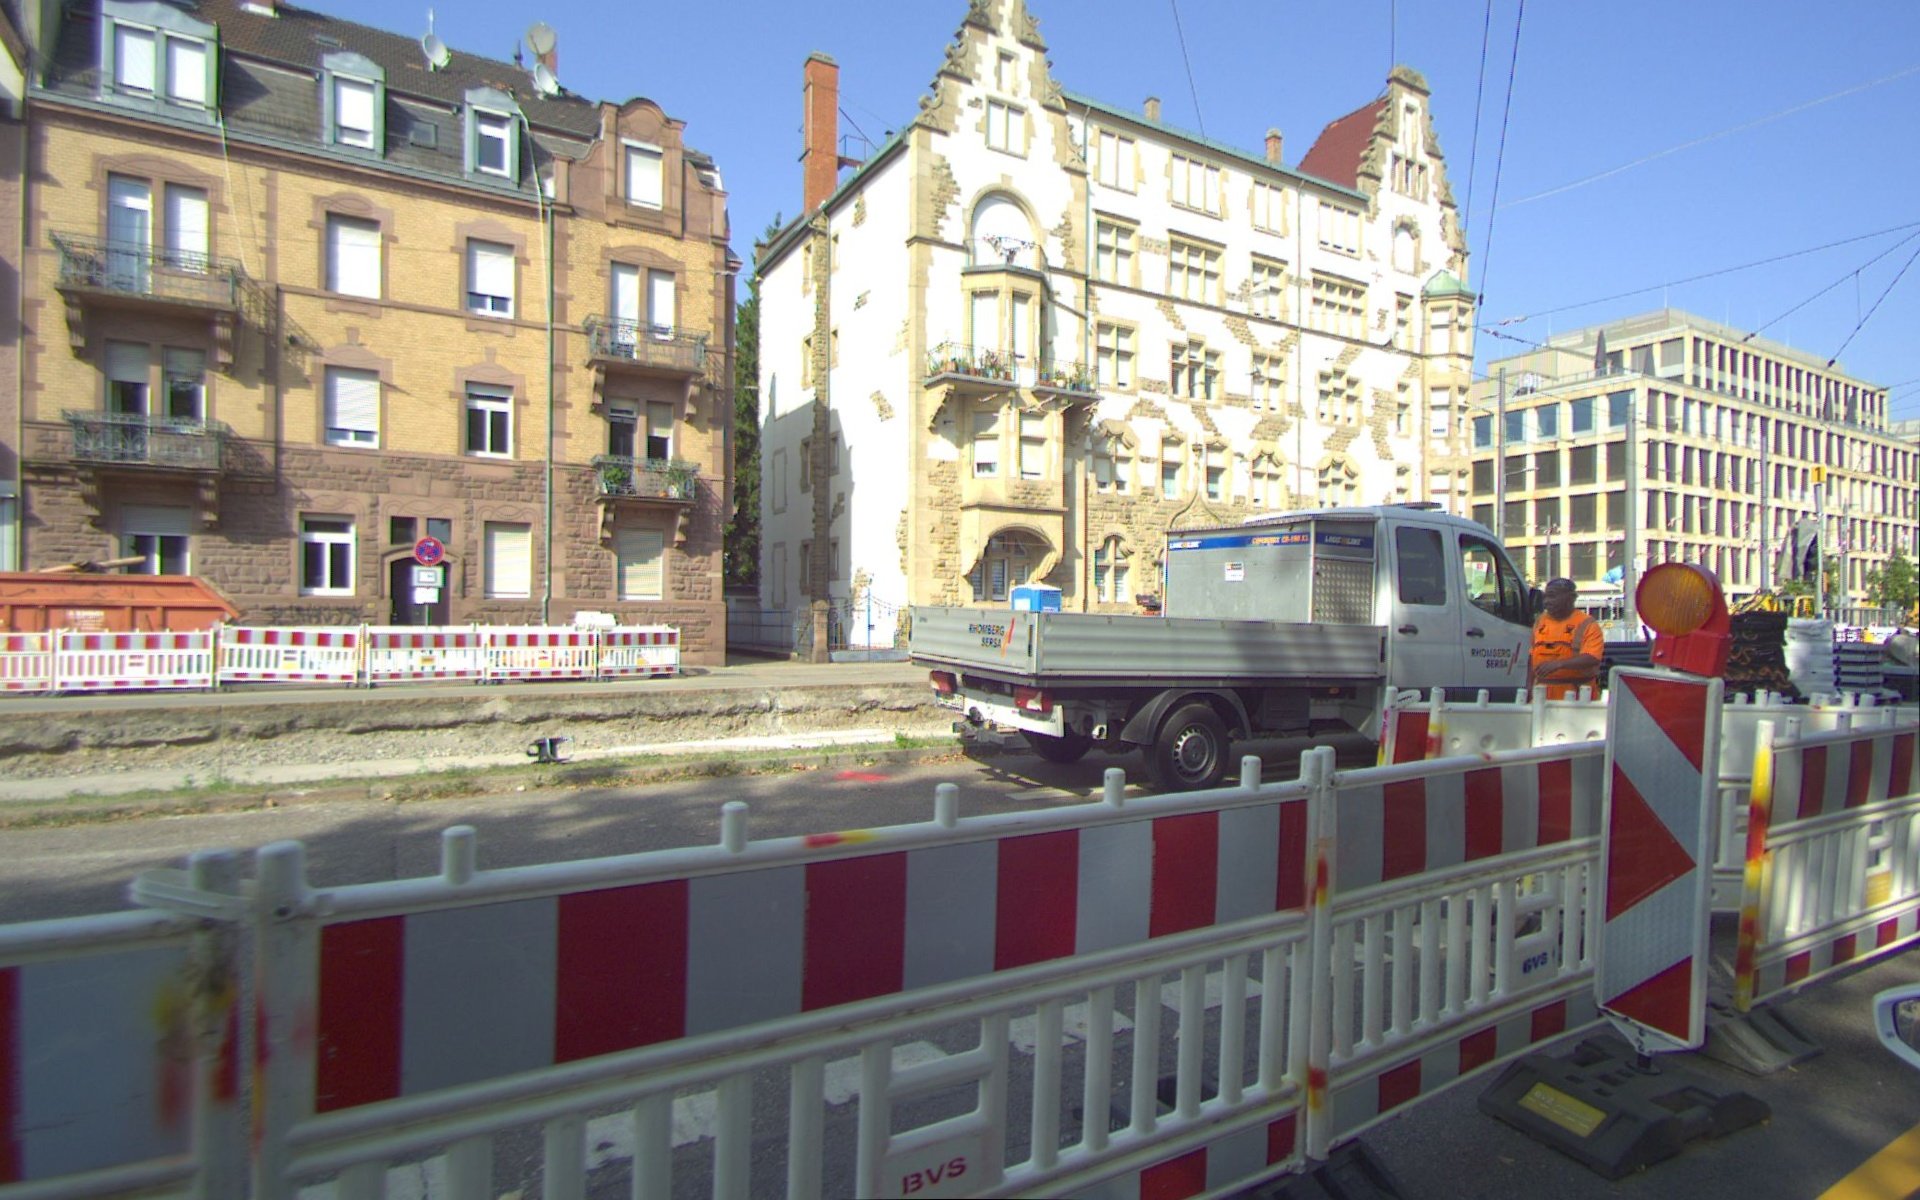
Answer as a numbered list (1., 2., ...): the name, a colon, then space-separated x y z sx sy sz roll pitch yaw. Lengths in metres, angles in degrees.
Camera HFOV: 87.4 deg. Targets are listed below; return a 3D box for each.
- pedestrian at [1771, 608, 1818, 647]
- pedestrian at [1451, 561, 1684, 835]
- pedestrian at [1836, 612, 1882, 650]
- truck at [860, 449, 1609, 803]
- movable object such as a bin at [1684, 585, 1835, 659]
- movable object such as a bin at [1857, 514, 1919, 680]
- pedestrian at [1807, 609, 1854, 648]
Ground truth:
1. pedestrian: 31.605 1.051 38.062 0.906 1.461 1.137 1 -1 -29
2. pedestrian: 4.270 0.638 7.090 1.083 1.733 1.026 1 -1 -32
3. pedestrian: 35.958 1.234 40.181 1.008 1.461 1.137 1 -1 -29
4. truck: 2.728 0.235 9.009 6.963 2.251 2.149 1 -2 -29
5. movable object such as a bin: 38.867 1.101 48.788 8.245 3.373 2.834 1 -2 -29
6. movable object such as a bin: 21.882 -0.052 19.889 6.072 3.390 2.106 0 -1 41
7. pedestrian: 33.466 1.083 38.639 0.906 1.461 1.137 1 -1 -29
